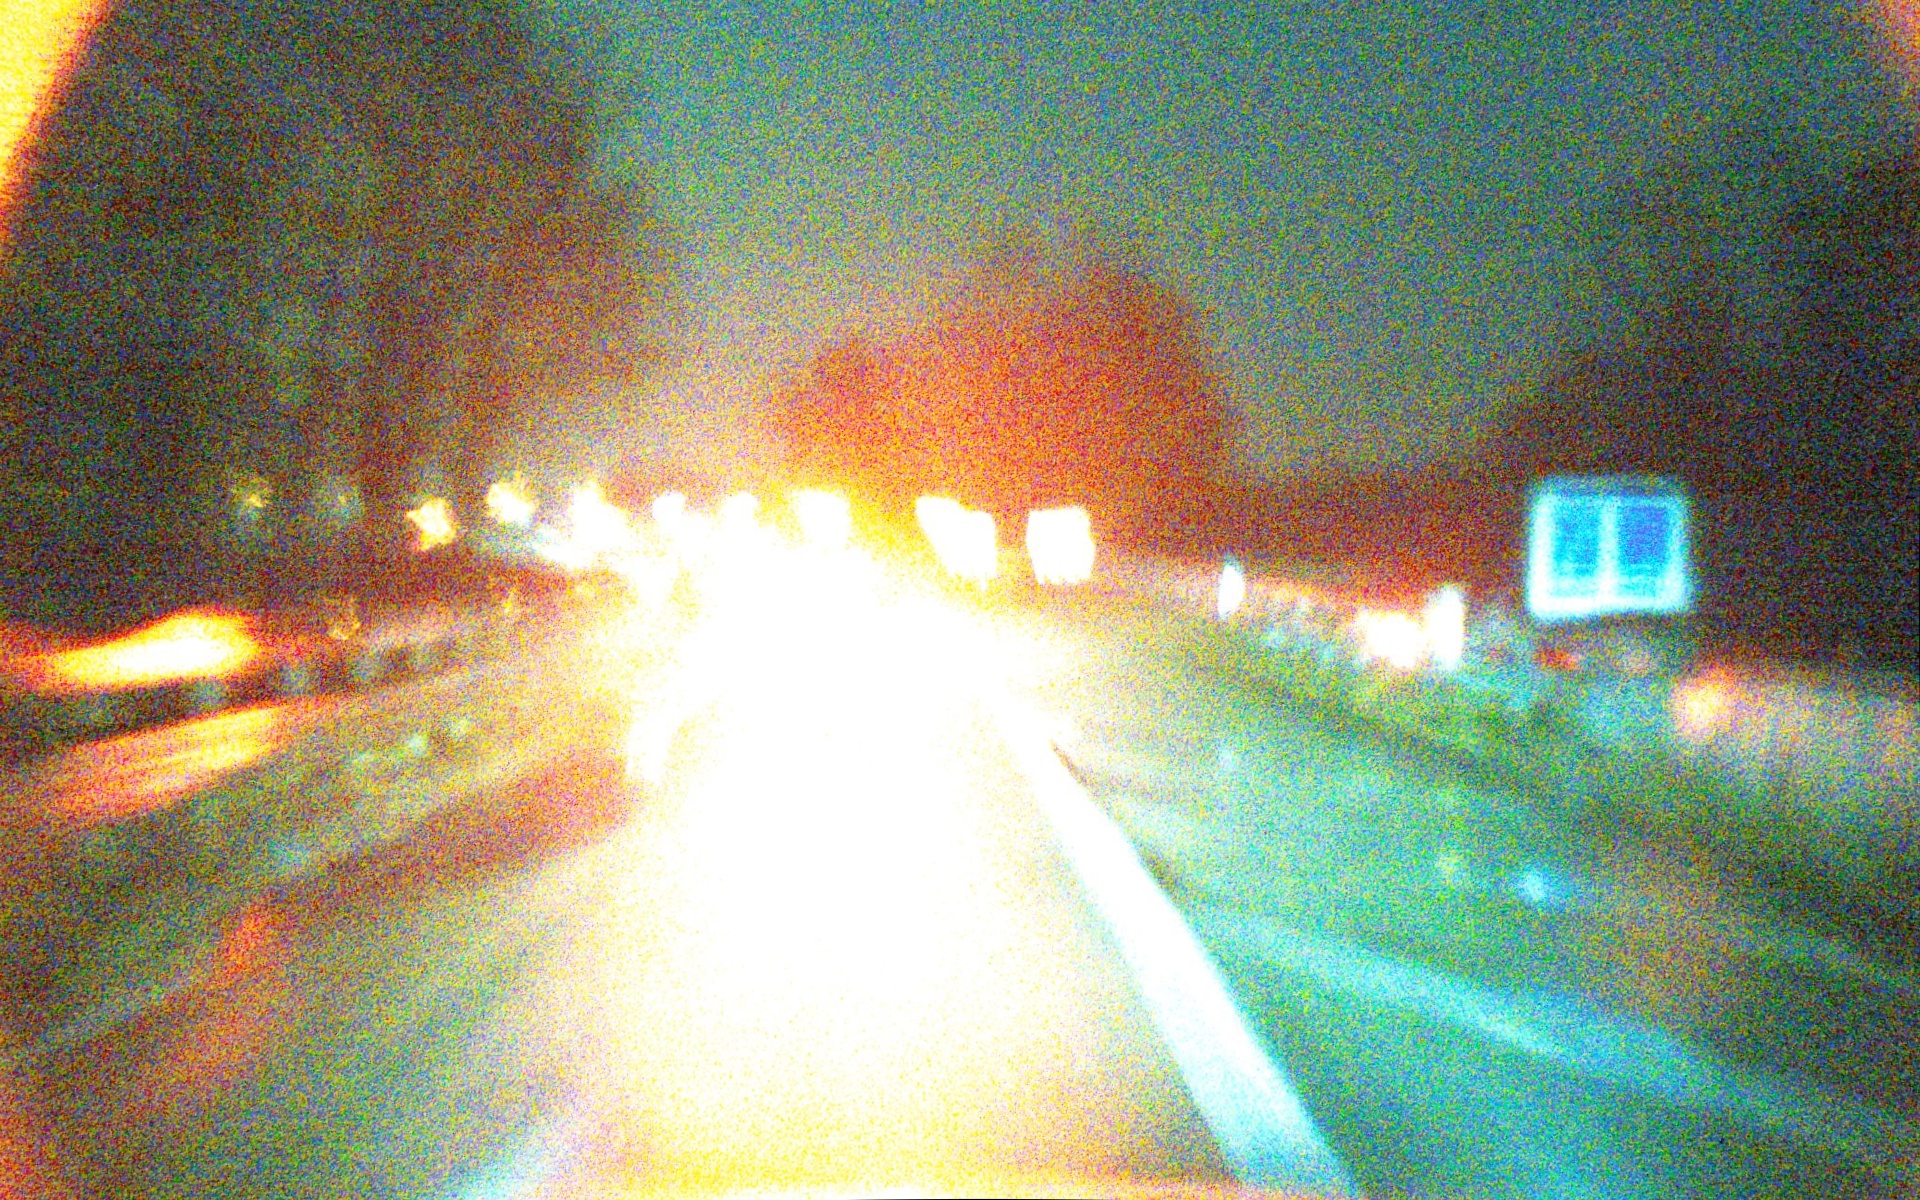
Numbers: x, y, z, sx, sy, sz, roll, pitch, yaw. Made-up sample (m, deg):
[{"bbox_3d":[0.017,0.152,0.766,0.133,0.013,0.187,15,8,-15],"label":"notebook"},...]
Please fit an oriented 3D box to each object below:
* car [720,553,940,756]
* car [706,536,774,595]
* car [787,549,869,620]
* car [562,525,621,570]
[{"bbox_3d":[-1.246,0.415,15.817,1.824,1.676,4.065,0,1,-5],"label":"car"},{"bbox_3d":[-8.049,-1.279,60.223,1.865,2.075,4.028,0,2,-16],"label":"car"},{"bbox_3d":[-3.484,-0.419,43.081,1.860,1.750,4.038,0,1,-9],"label":"car"},{"bbox_3d":[-17.093,-2.443,76.643,1.871,2.032,4.015,0,2,-25],"label":"car"}]
